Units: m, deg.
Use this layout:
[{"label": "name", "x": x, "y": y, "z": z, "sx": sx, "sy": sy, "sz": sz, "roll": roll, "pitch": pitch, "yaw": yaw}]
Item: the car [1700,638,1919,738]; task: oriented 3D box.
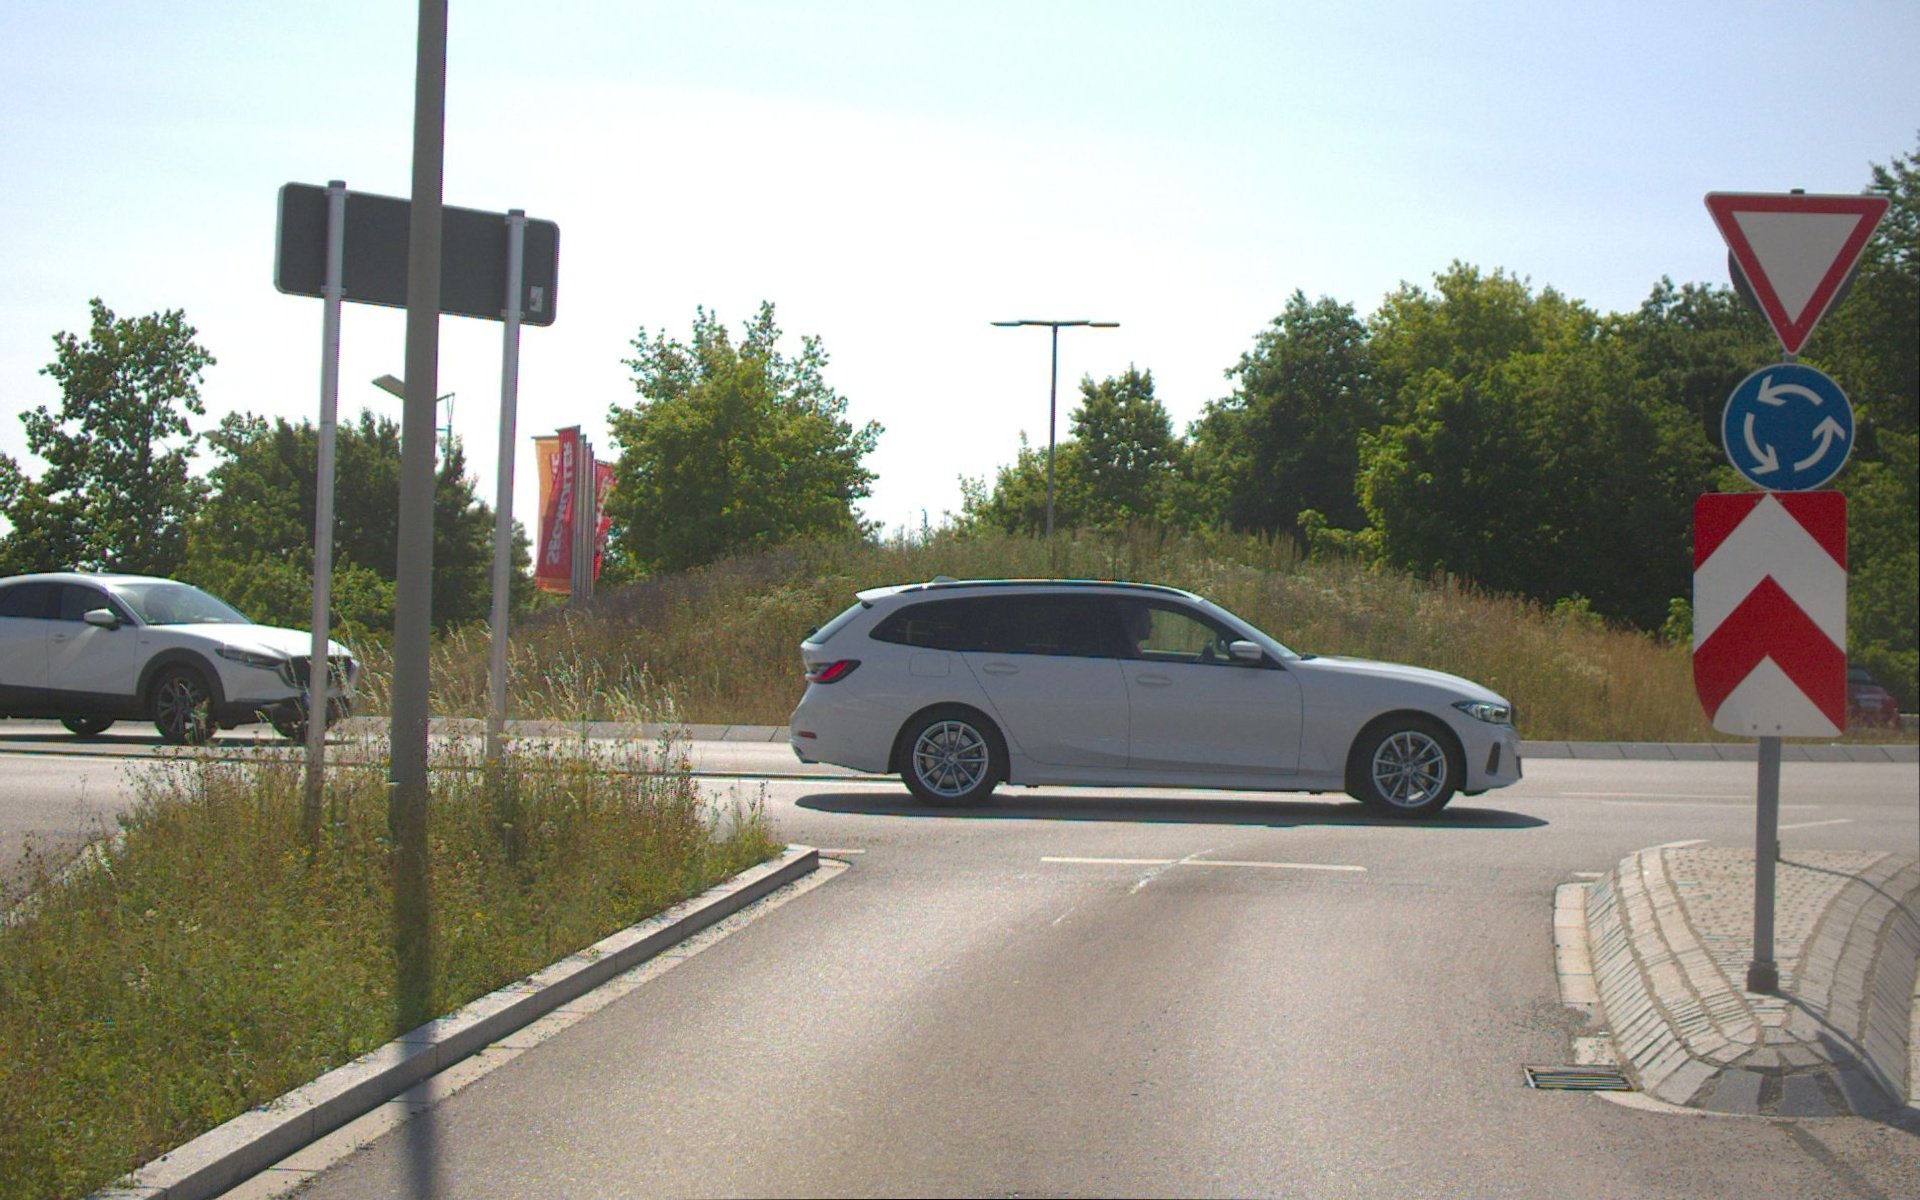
[{"label": "car", "x": 13.600, "y": 1.381, "z": 54.330, "sx": 1.621, "sy": 1.400, "sz": 3.818, "roll": 2, "pitch": 0, "yaw": -27}]

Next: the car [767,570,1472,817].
[{"label": "car", "x": 1.049, "y": 0.576, "z": 22.120, "sx": 4.328, "sy": 1.347, "sz": 1.572, "roll": 2, "pitch": 0, "yaw": 6}]

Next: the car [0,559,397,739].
[{"label": "car", "x": -7.464, "y": 0.424, "z": 31.651, "sx": 4.281, "sy": 1.525, "sz": 1.789, "roll": 1, "pitch": -1, "yaw": 29}]
